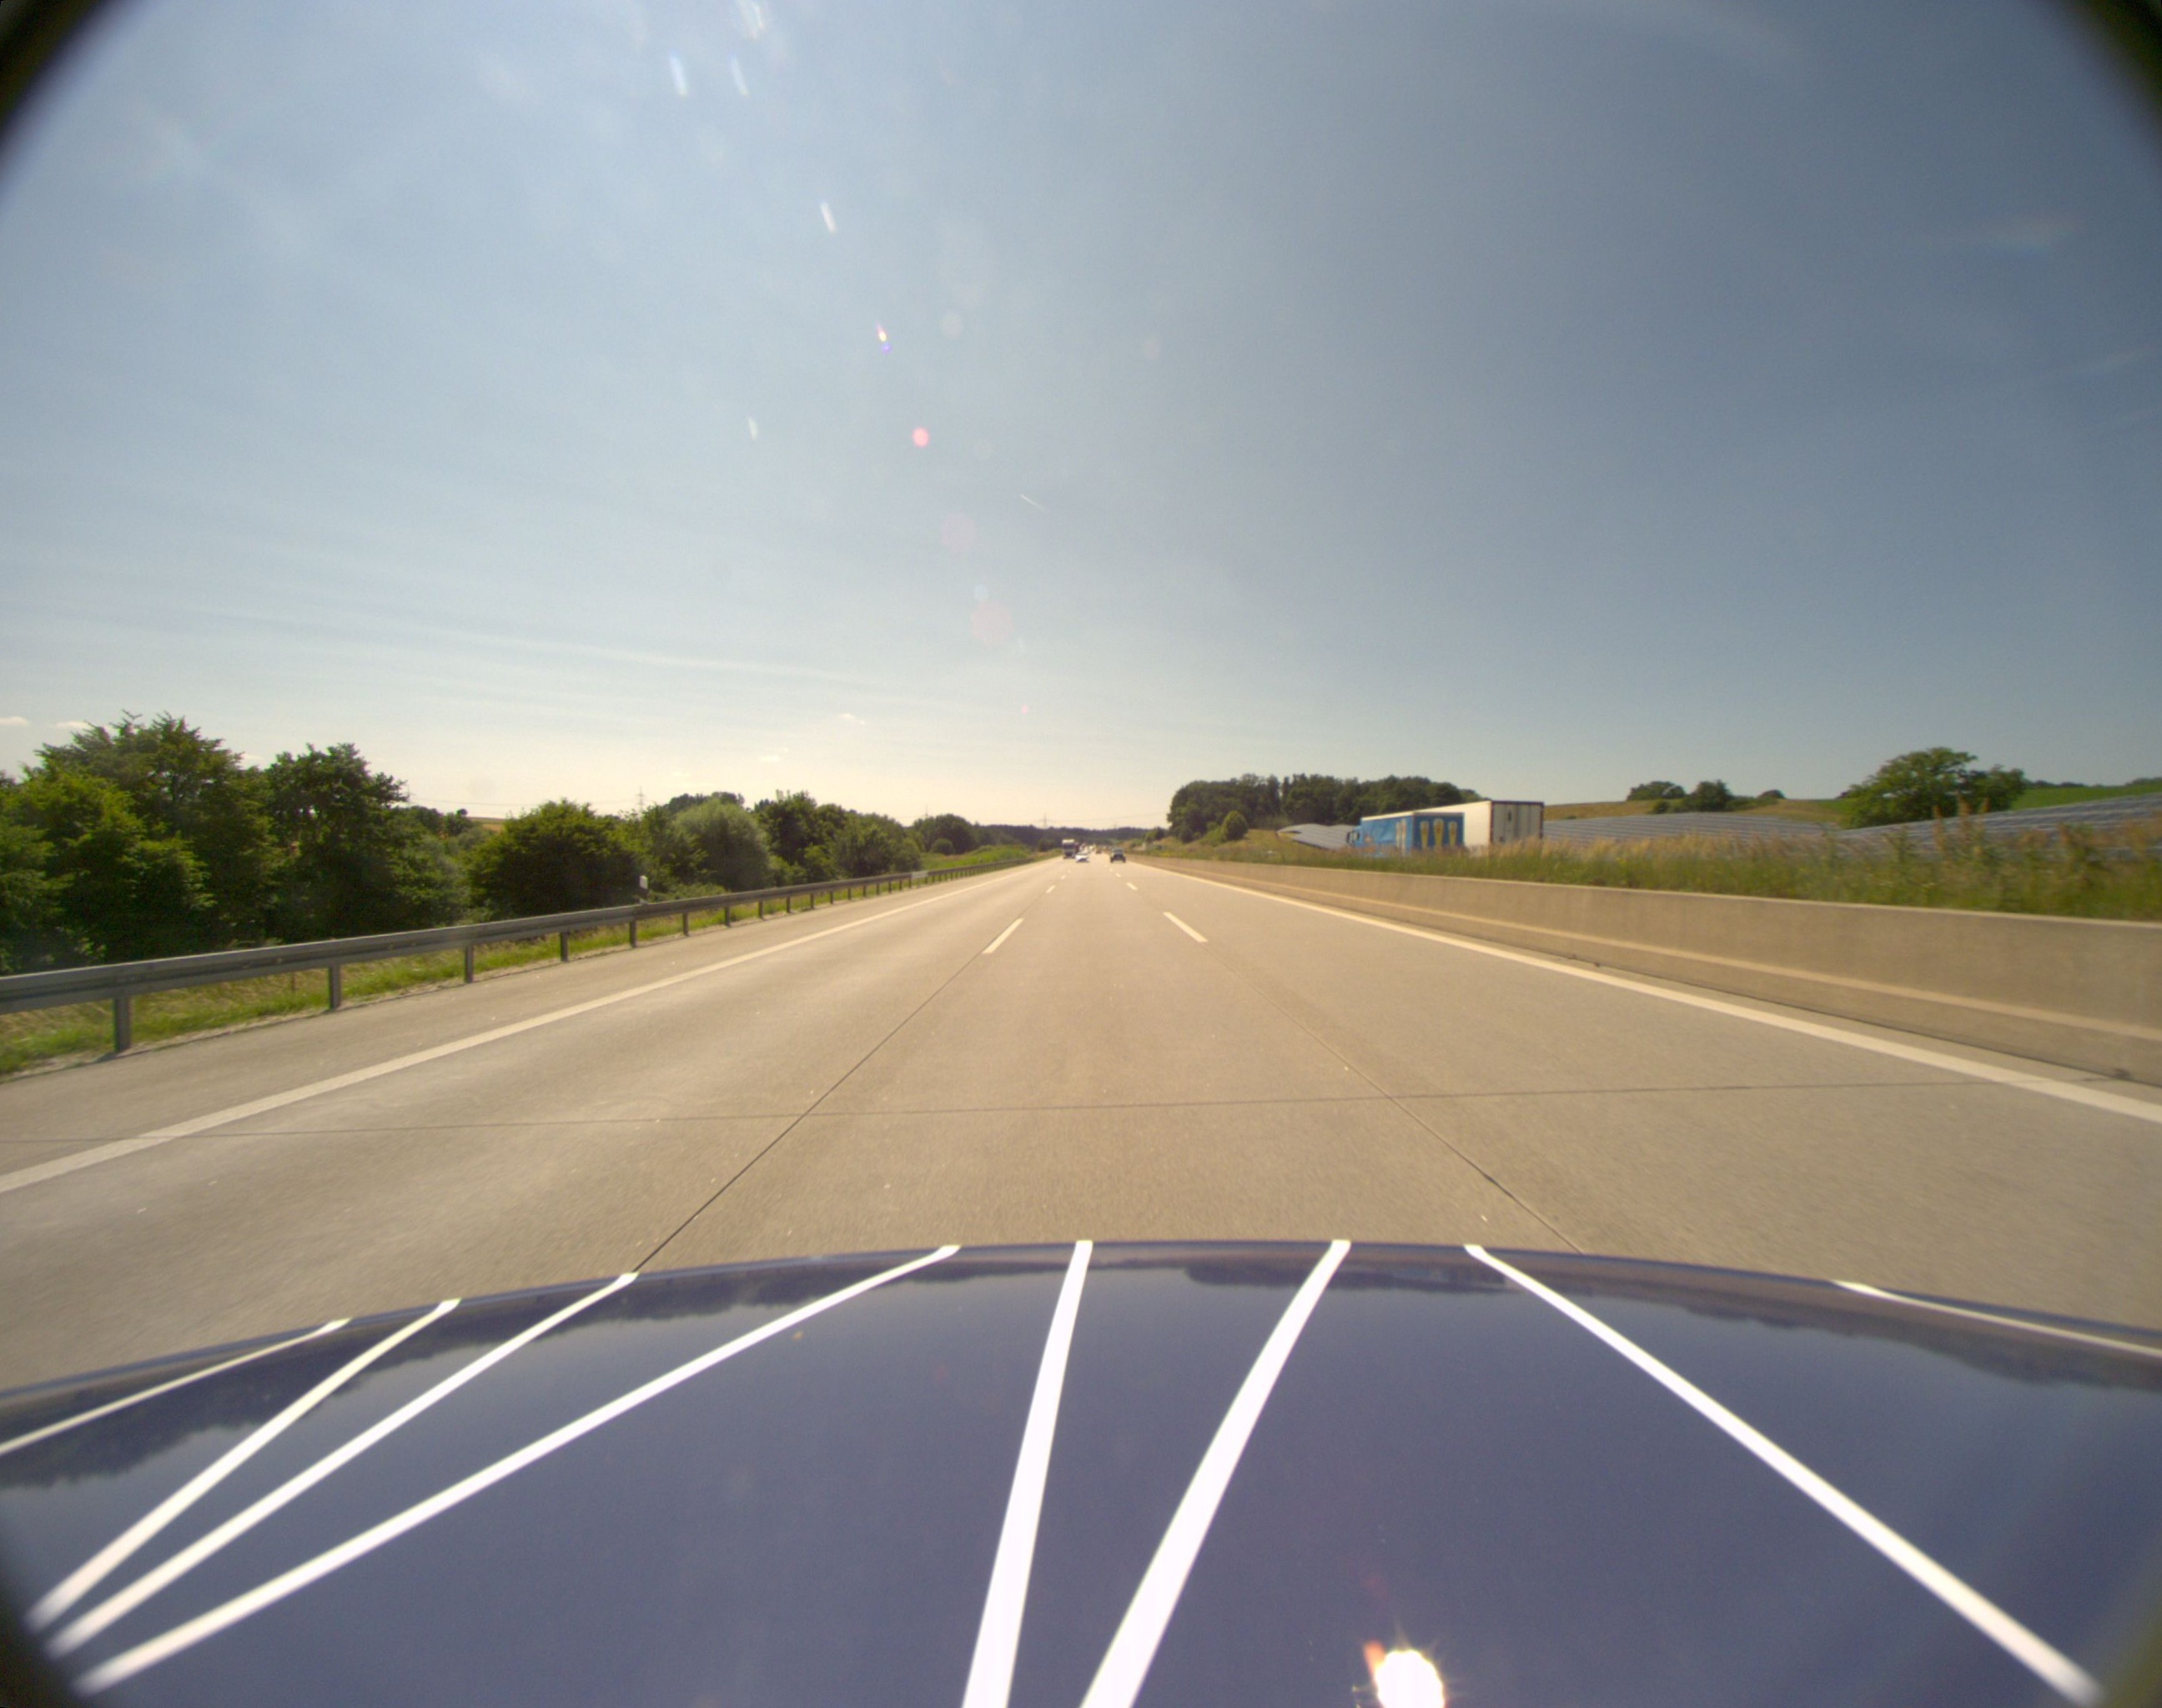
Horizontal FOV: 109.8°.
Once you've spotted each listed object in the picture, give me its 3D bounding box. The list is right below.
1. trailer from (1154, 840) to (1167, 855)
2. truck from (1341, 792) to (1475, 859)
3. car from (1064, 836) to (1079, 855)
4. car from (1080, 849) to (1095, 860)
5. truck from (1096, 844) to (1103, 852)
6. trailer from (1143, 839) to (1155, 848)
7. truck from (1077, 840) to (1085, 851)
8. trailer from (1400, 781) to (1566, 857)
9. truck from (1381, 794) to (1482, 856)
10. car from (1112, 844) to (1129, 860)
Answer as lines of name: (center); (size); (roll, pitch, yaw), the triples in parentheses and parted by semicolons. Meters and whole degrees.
trailer: (23.581, -1.904, 225.188); (2.739, 4.167, 10.256); (-2, 1, 1)
truck: (17.286, -1.443, 41.245); (2.832, 3.046, 10.373); (-2, 1, 1)
car: (-2.028, -1.831, 164.641); (2.766, 4.030, 10.851); (-1, 1, 1)
car: (0.868, 0.025, 109.296); (2.065, 1.472, 5.068); (-2, 1, 0)
truck: (6.146, -1.941, 252.201); (2.262, 2.461, 6.614); (-2, 1, 1)
trailer: (24.038, -3.723, 269.241); (2.839, 3.165, 14.504); (-2, 1, 1)
truck: (-0.014, -2.791, 254.631); (2.351, 3.474, 5.245); (-1, 1, 0)
trailer: (21.571, -1.774, 41.971); (3.082, 3.504, 11.761); (-2, 1, 1)
truck: (21.699, -1.764, 47.498); (3.130, 3.467, 6.884); (-2, 1, 1)
car: (5.153, -0.280, 100.009); (1.998, 1.836, 6.529); (-3, 1, 1)
